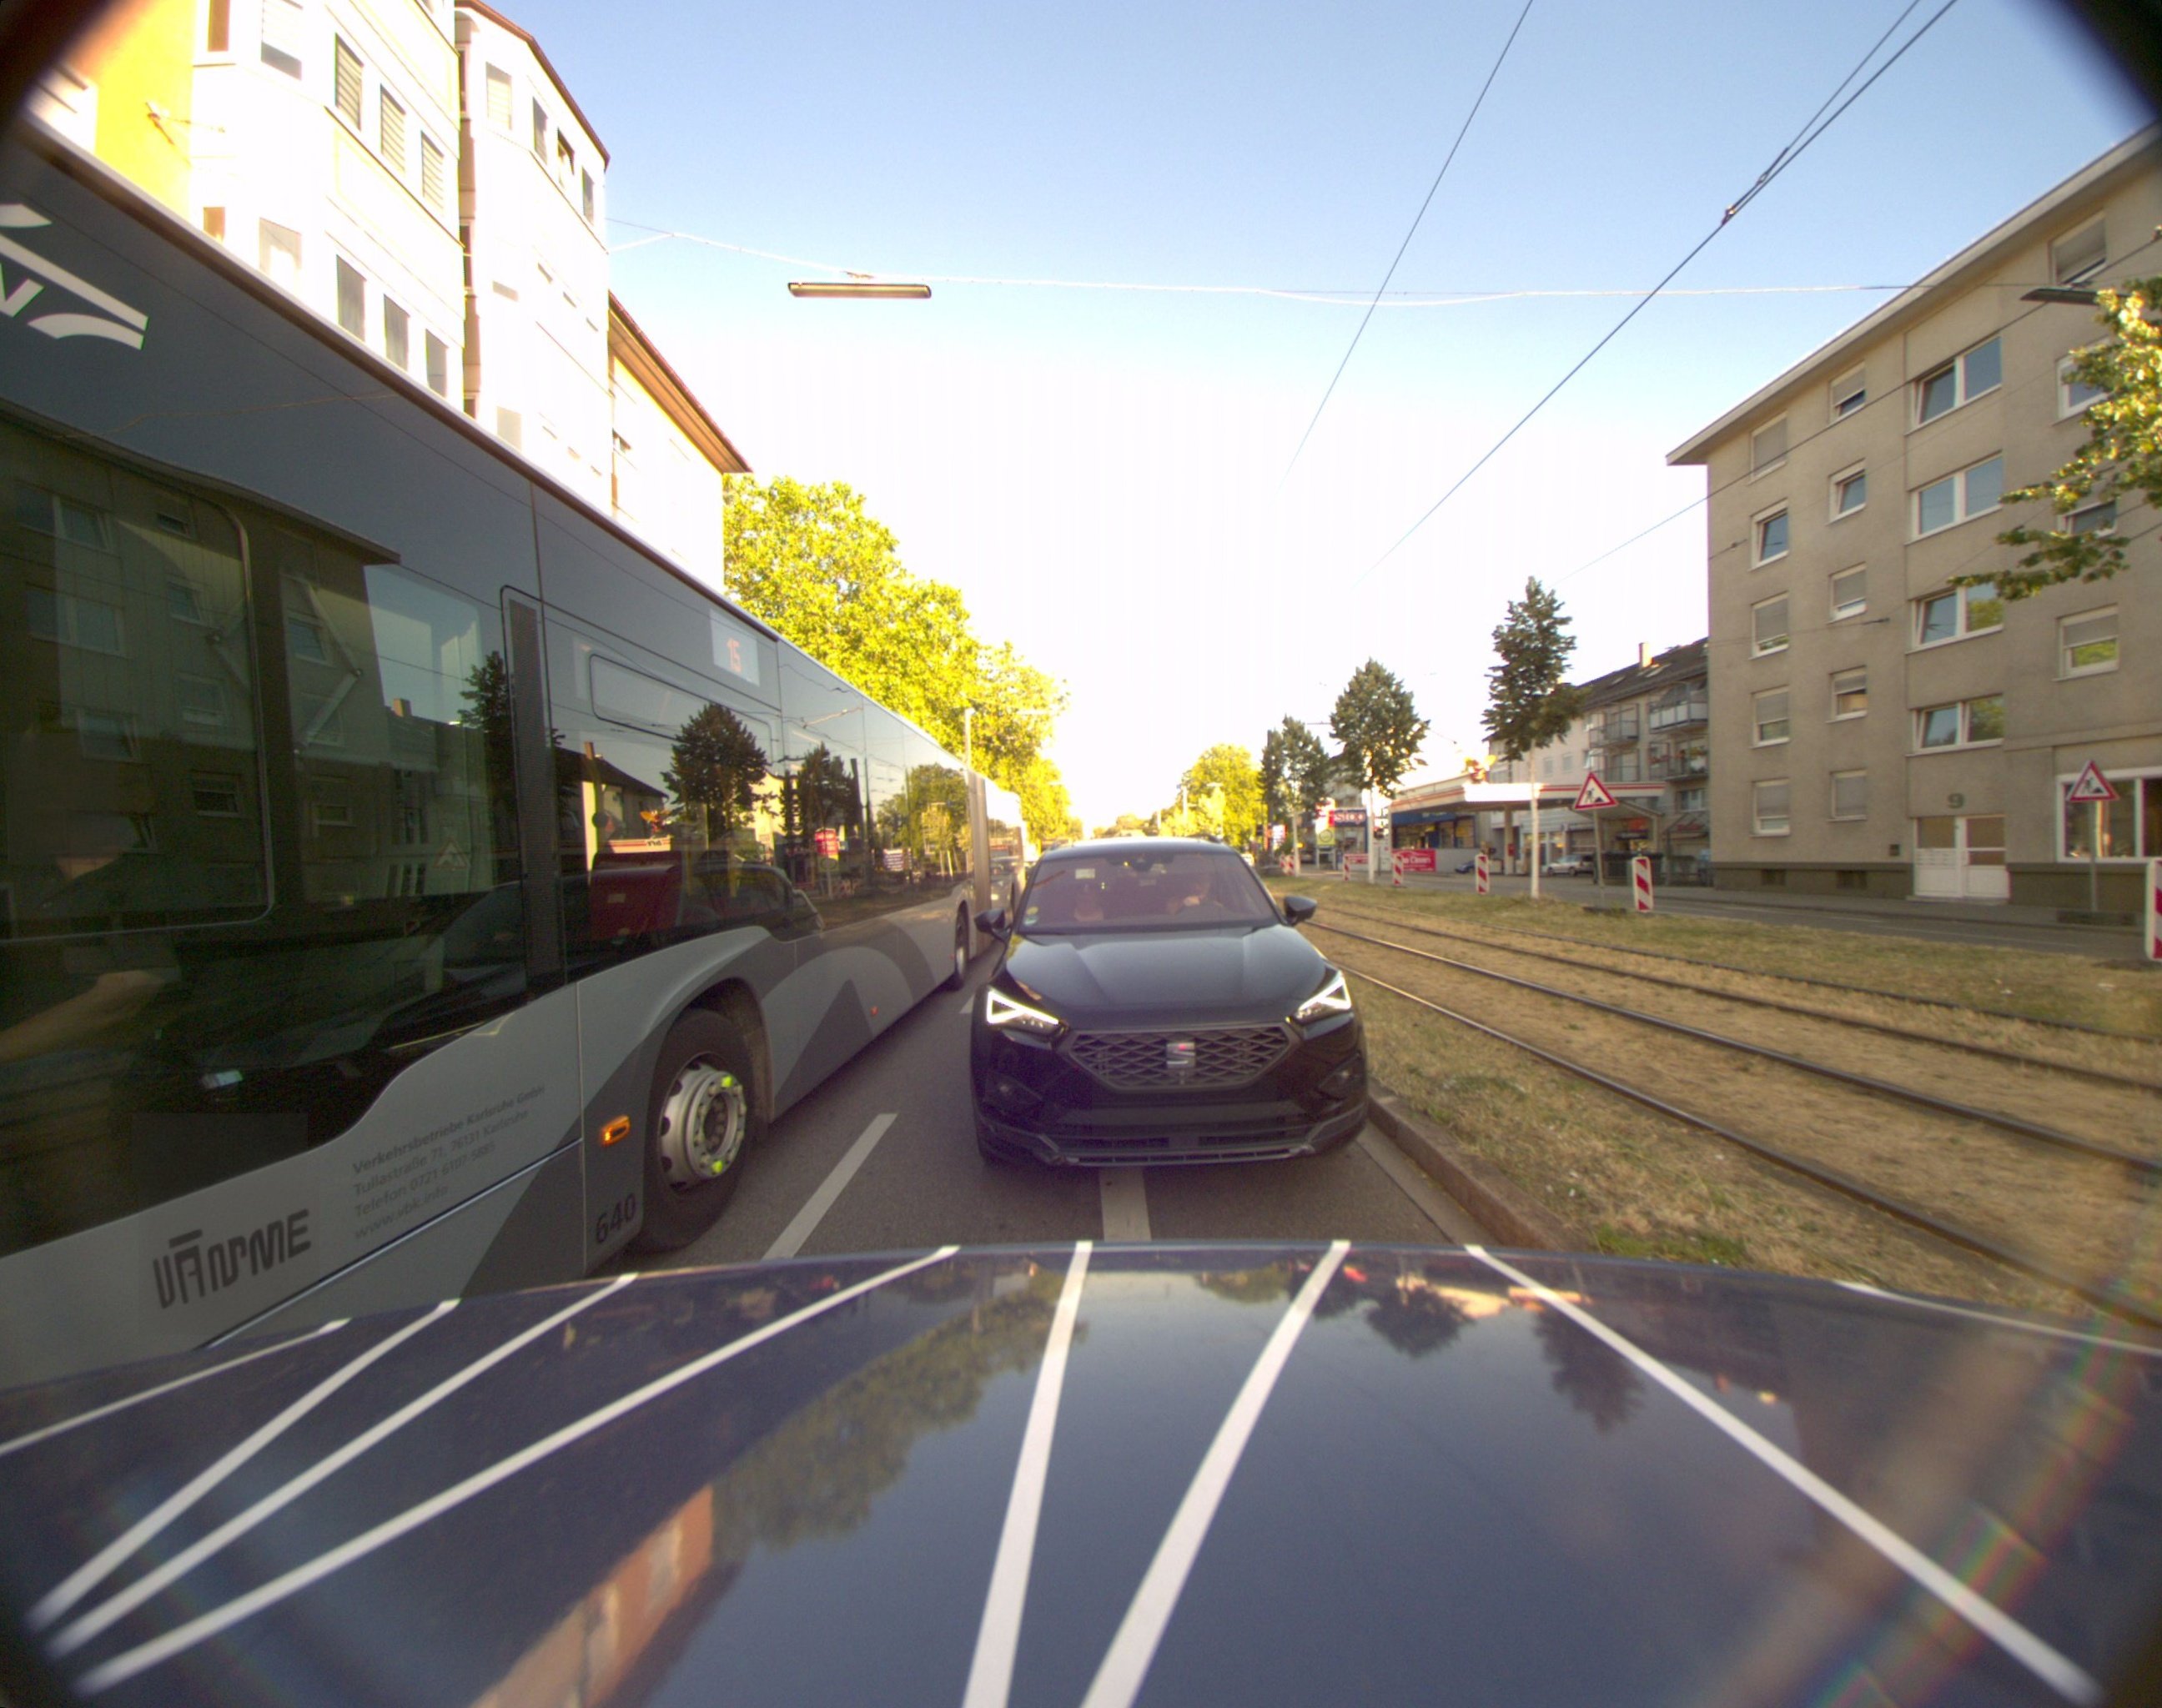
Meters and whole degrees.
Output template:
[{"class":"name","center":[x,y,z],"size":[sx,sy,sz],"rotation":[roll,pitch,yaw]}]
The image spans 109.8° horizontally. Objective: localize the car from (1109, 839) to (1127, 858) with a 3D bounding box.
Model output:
[{"class":"car","center":[4.091,-0.589,83.561],"size":[1.767,2.002,3.791],"rotation":[-2,1,1]}]

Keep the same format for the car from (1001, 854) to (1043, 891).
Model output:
[{"class":"car","center":[-2.877,0.870,37.739],"size":[1.750,1.598,3.823],"rotation":[-2,1,-1]}]

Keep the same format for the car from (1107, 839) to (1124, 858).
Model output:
[{"class":"car","center":[3.980,-0.633,87.883],"size":[1.767,2.002,3.791],"rotation":[-2,1,1]}]

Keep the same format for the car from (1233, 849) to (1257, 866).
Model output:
[{"class":"car","center":[16.677,0.372,77.241],"size":[1.723,1.601,3.828],"rotation":[-2,1,3]}]

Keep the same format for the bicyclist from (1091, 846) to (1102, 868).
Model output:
[{"class":"bicyclist","center":[0.940,0.194,46.581],"size":[0.500,1.303,0.499],"rotation":[-3,1,-22]}]

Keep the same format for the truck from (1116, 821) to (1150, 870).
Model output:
[{"class":"truck","center":[4.304,-0.698,64.432],"size":[2.306,3.798,7.723],"rotation":[-2,1,1]}]

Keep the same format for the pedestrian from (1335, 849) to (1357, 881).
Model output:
[{"class":"pedestrian","center":[10.919,0.462,31.303],"size":[0.664,1.263,0.581],"rotation":[-2,0,1]}]

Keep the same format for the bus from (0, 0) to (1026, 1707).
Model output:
[{"class":"bus","center":[-2.813,0.234,9.099],"size":[2.773,3.131,17.740],"rotation":[-2,0,1]}]

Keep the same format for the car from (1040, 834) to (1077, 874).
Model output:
[{"class":"car","center":[-1.723,-0.029,60.087],"size":[2.681,2.875,5.452],"rotation":[-2,1,0]}]

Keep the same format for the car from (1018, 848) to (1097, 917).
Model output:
[{"class":"car","center":[-0.595,0.758,22.022],"size":[1.998,1.739,4.000],"rotation":[-2,0,1]}]

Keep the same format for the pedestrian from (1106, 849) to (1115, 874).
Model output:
[{"class":"pedestrian","center":[2.388,0.645,61.746],"size":[0.625,2.002,0.695],"rotation":[-2,0,0]}]

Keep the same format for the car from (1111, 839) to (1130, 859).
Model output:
[{"class":"car","center":[4.053,-0.531,78.528],"size":[1.767,2.002,3.791],"rotation":[-2,1,1]}]

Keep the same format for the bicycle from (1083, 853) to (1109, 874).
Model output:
[{"class":"bicycle","center":[0.933,0.575,46.623],"size":[1.475,1.213,0.525],"rotation":[-3,1,-22]}]

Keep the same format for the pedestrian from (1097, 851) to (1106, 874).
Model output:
[{"class":"pedestrian","center":[1.384,0.574,51.698],"size":[0.509,1.552,0.699],"rotation":[-2,1,6]}]

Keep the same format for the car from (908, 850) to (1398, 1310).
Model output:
[{"class":"car","center":[0.295,0.842,4.825],"size":[1.774,1.667,4.000],"rotation":[-2,0,1]}]

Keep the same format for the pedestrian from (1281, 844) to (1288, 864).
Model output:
[{"class":"pedestrian","center":[21.078,0.010,78.792],"size":[0.632,2.002,0.583],"rotation":[0,1,2]}]

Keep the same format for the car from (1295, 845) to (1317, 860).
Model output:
[{"class":"car","center":[25.087,-0.214,84.823],"size":[1.781,1.547,4.002],"rotation":[-2,1,9]}]

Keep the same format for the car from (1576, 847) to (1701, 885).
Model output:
[{"class":"car","center":[22.769,0.501,31.149],"size":[3.727,1.460,1.908],"rotation":[0,-1,0]}]
